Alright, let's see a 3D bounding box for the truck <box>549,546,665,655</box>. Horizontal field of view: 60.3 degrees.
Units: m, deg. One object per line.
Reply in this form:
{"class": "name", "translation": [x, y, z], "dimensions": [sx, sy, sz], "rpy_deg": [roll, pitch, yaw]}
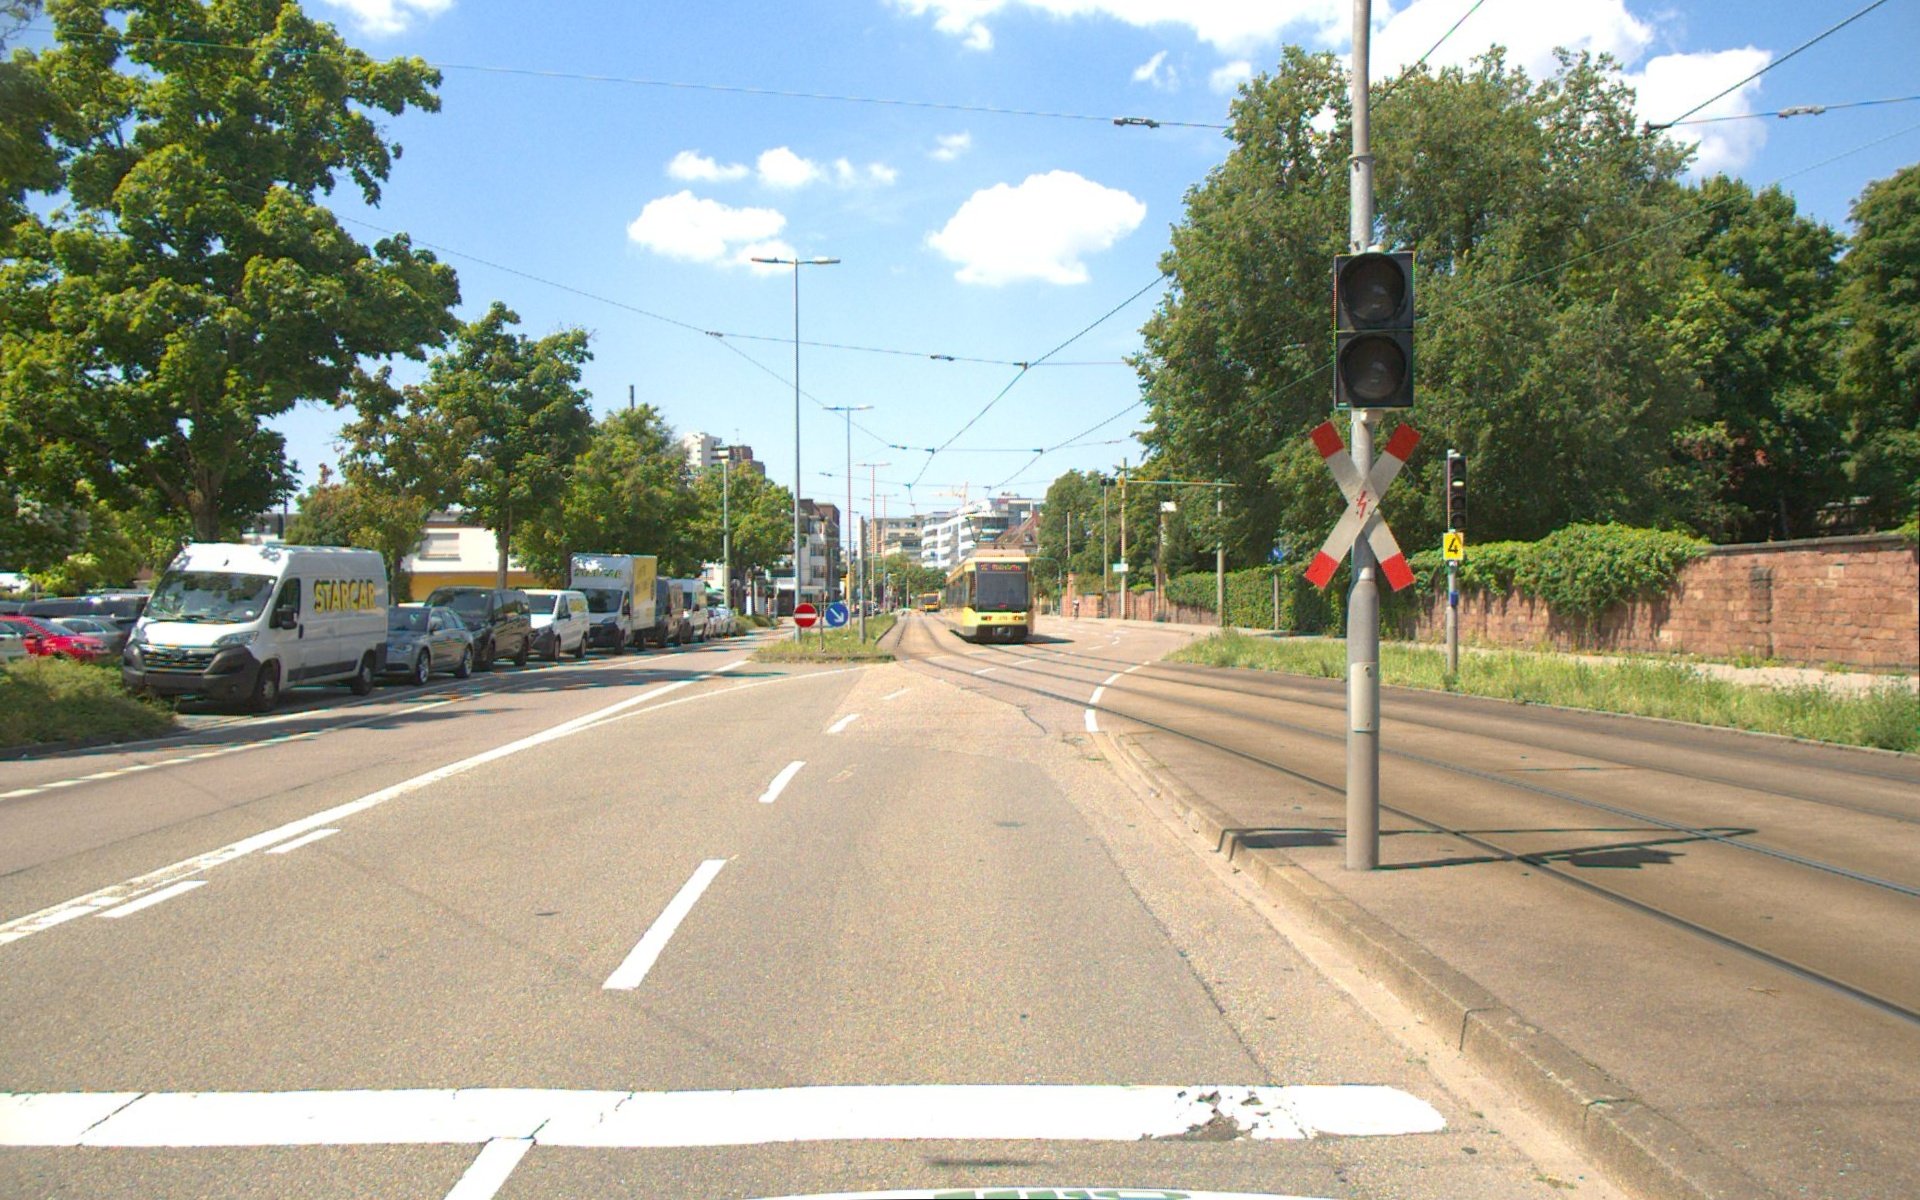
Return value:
{"class": "truck", "translation": [-11.549, 0.005, 54.737], "dimensions": [2.112, 3.266, 7.082], "rpy_deg": [2, 0, 1]}

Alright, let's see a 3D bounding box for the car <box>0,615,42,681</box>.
{"class": "car", "translation": [-22.193, 1.051, 35.508], "dimensions": [3.907, 1.362, 1.804], "rpy_deg": [-1, 0, -3]}

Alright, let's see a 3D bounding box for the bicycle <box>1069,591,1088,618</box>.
{"class": "bicycle", "translation": [9.002, 0.340, 125.877], "dimensions": [1.070, 1.941, 3.681], "rpy_deg": [-1, 0, -1]}

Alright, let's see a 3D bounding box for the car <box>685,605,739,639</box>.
{"class": "car", "translation": [-12.456, 1.067, 83.374], "dimensions": [2.019, 1.609, 4.870], "rpy_deg": [-1, 0, -1]}

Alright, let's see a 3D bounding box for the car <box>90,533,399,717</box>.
{"class": "car", "translation": [-11.215, 0.345, 26.583], "dimensions": [2.112, 2.530, 6.193], "rpy_deg": [2, 0, 1]}

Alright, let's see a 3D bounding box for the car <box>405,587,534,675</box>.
{"class": "car", "translation": [-11.573, 0.694, 39.338], "dimensions": [1.831, 1.928, 4.270], "rpy_deg": [-1, 0, -1]}

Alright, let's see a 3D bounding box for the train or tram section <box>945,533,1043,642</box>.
{"class": "train or tram section", "translation": [1.091, -0.478, 66.322], "dimensions": [2.884, 3.756, 18.381], "rpy_deg": [0, 0, -2]}

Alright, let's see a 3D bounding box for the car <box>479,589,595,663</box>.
{"class": "car", "translation": [-11.702, 0.679, 46.111], "dimensions": [2.019, 1.931, 4.870], "rpy_deg": [-1, 0, -1]}

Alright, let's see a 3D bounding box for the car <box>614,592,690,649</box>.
{"class": "car", "translation": [-11.550, 0.737, 62.378], "dimensions": [2.019, 2.011, 4.870], "rpy_deg": [-1, 0, -1]}

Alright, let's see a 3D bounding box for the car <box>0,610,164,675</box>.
{"class": "car", "translation": [-21.985, 1.034, 40.661], "dimensions": [3.907, 1.467, 1.804], "rpy_deg": [-1, 0, -3]}

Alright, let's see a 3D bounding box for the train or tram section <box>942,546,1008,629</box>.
{"class": "train or tram section", "translation": [0.574, -0.619, 85.596], "dimensions": [2.884, 3.756, 20.279], "rpy_deg": [0, 0, -1]}

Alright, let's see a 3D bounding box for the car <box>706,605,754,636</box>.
{"class": "car", "translation": [-12.594, 1.111, 90.968], "dimensions": [2.019, 1.609, 4.870], "rpy_deg": [-1, 0, -1]}

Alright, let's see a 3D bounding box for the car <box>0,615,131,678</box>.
{"class": "car", "translation": [-21.527, 1.077, 38.128], "dimensions": [3.907, 1.362, 1.804], "rpy_deg": [-1, 0, -3]}

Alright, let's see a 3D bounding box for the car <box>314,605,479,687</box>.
{"class": "car", "translation": [-11.085, 0.867, 32.858], "dimensions": [1.831, 1.462, 4.341], "rpy_deg": [-1, 0, -1]}

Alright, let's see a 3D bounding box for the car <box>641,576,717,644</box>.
{"class": "car", "translation": [-11.848, 0.396, 70.187], "dimensions": [2.112, 2.685, 5.612], "rpy_deg": [2, 0, 1]}
